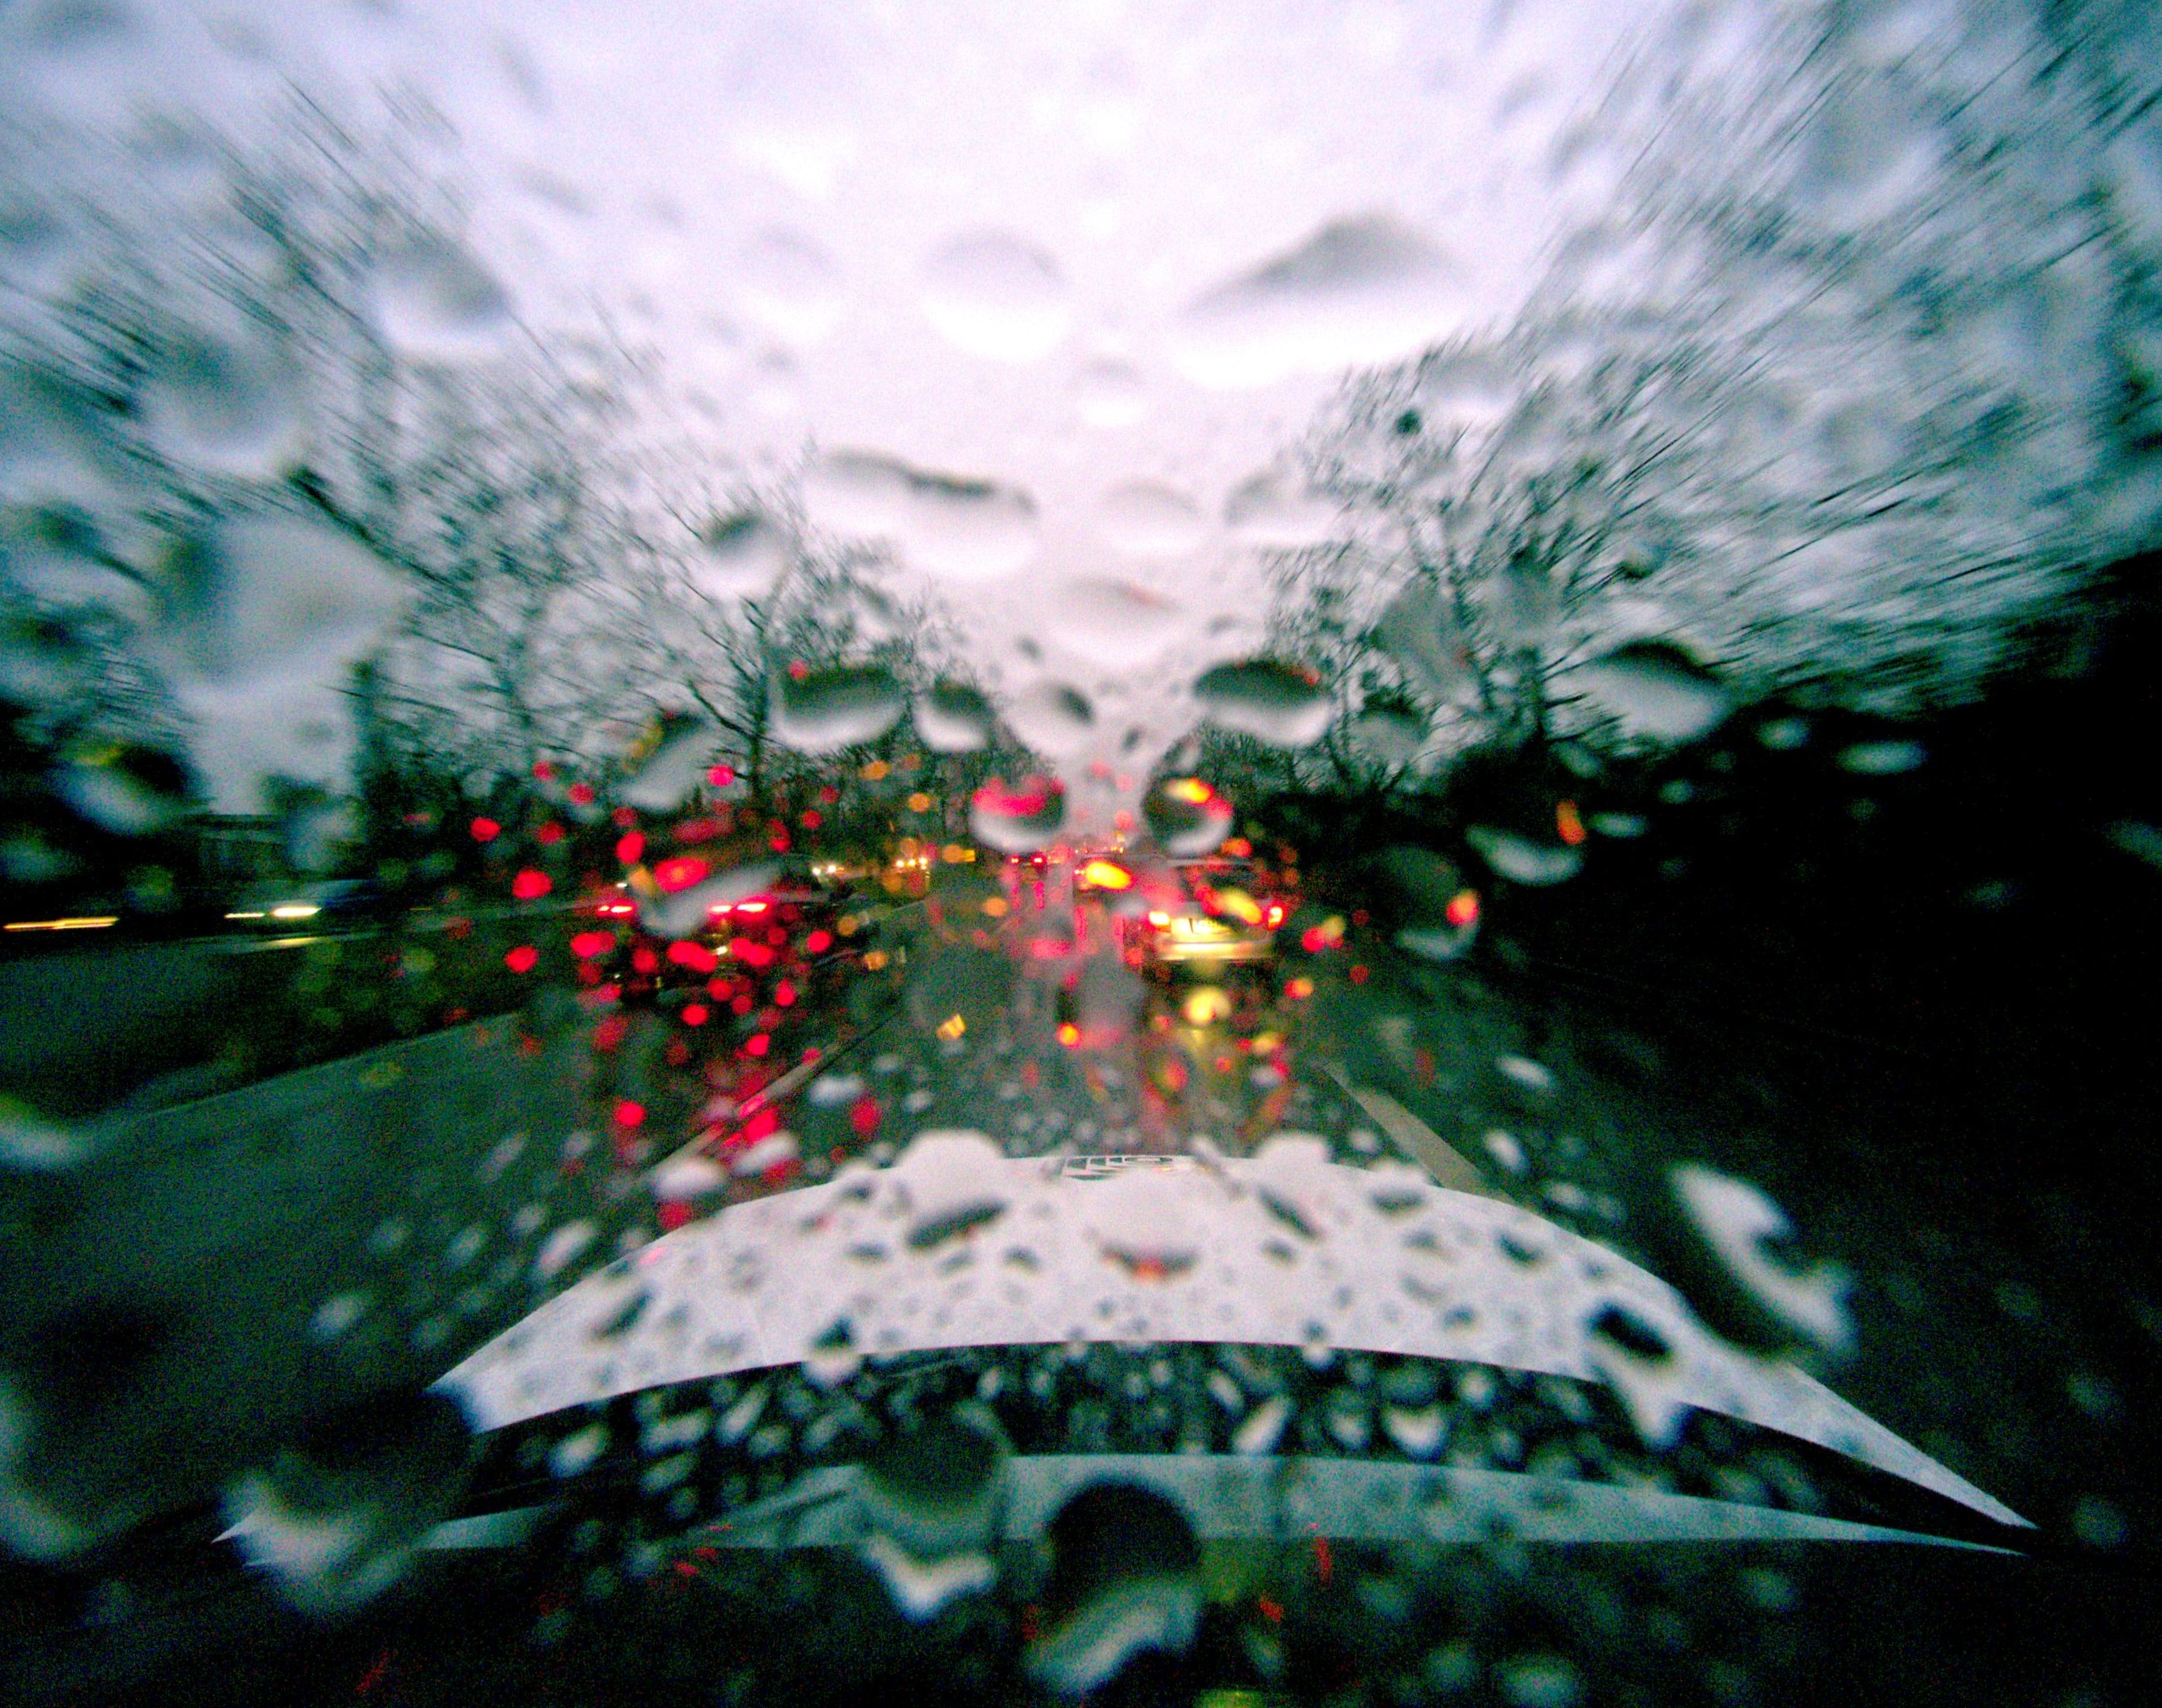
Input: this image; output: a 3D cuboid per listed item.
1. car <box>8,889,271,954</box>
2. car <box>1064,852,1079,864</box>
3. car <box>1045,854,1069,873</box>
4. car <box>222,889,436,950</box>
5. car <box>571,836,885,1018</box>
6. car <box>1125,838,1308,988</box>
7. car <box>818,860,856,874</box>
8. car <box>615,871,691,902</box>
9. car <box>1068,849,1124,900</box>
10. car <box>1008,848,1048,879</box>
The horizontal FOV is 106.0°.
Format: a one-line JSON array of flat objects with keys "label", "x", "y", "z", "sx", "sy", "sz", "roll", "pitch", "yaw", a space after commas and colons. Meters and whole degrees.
[{"label": "car", "x": -24.041, "y": 1.668, "z": 21.093, "sx": 1.745, "sy": 1.308, "sz": 4.316, "roll": -1, "pitch": 0, "yaw": 1}, {"label": "car", "x": -1.096, "y": 0.478, "z": 95.073, "sx": 1.499, "sy": 1.339, "sz": 4.001, "roll": -2, "pitch": -1, "yaw": 2}, {"label": "car", "x": -2.144, "y": 0.838, "z": 73.681, "sx": 1.815, "sy": 1.648, "sz": 4.001, "roll": -2, "pitch": -1, "yaw": 2}, {"label": "car", "x": -20.283, "y": 1.716, "z": 22.267, "sx": 1.745, "sy": 1.308, "sz": 4.316, "roll": -1, "pitch": 0, "yaw": 1}, {"label": "car", "x": -3.858, "y": 0.713, "z": 9.892, "sx": 1.816, "sy": 1.648, "sz": 4.466, "roll": -2, "pitch": -1, "yaw": 0}, {"label": "car", "x": 1.620, "y": 0.702, "z": 11.263, "sx": 1.926, "sy": 1.648, "sz": 4.468, "roll": 0, "pitch": -1, "yaw": 2}, {"label": "car", "x": -21.523, "y": 1.197, "z": 71.861, "sx": 1.986, "sy": 1.191, "sz": 4.002, "roll": -1, "pitch": -1, "yaw": 2}, {"label": "car", "x": -23.131, "y": 1.731, "z": 44.192, "sx": 1.744, "sy": 1.482, "sz": 4.200, "roll": -1, "pitch": 0, "yaw": 3}, {"label": "car", "x": 0.573, "y": 0.719, "z": 28.694, "sx": 1.815, "sy": 1.648, "sz": 4.468, "roll": 0, "pitch": -1, "yaw": 2}, {"label": "car", "x": -2.958, "y": 0.542, "z": 46.191, "sx": 1.815, "sy": 1.648, "sz": 4.001, "roll": -2, "pitch": -1, "yaw": 2}]
